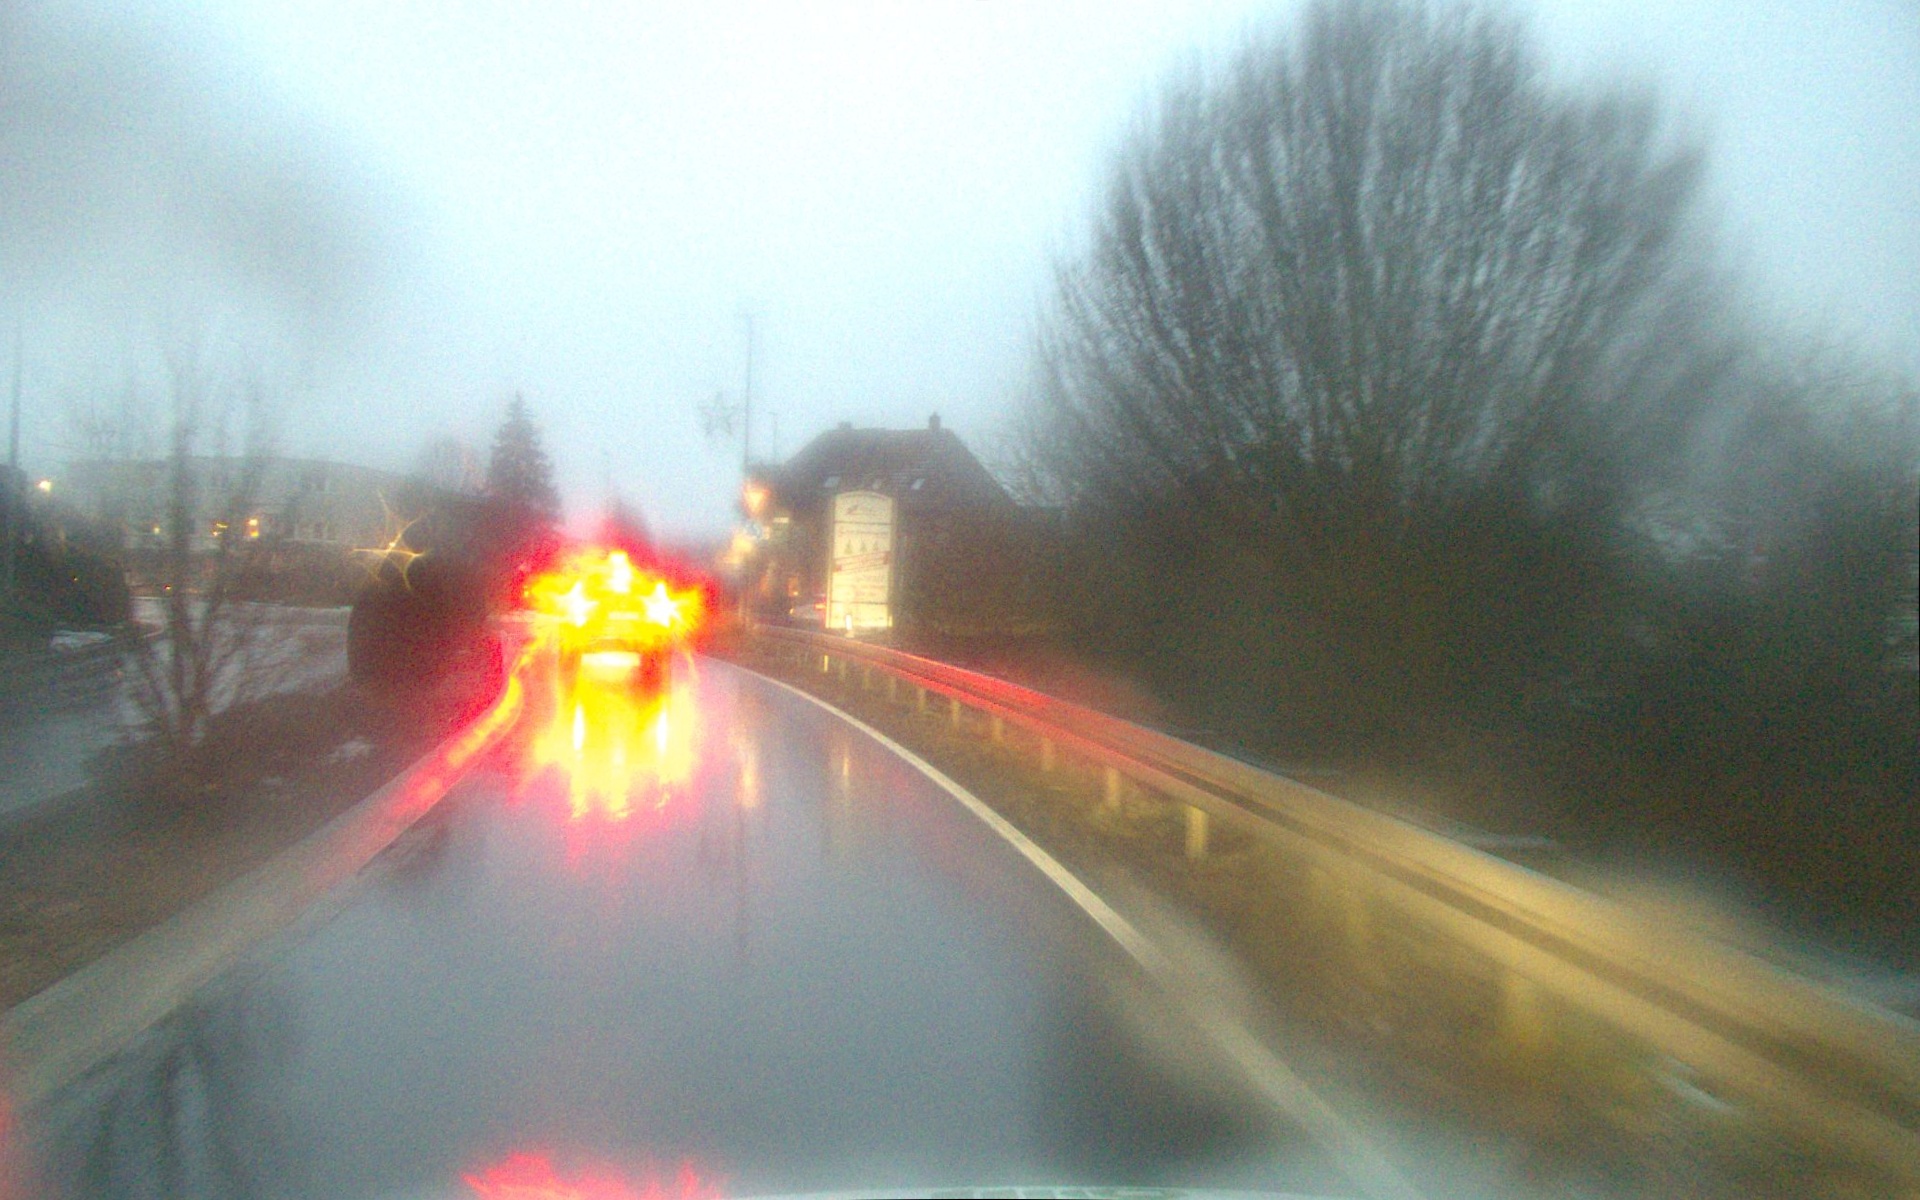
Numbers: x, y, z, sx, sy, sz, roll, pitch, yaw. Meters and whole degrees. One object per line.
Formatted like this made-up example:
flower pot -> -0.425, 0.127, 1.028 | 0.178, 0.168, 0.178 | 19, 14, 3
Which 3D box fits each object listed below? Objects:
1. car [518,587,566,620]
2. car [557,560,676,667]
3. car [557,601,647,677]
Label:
car -> -20.640, 0.160, 81.578 | 1.748, 1.571, 3.974 | 1, -1, -22
car -> -6.284, 0.227, 30.022 | 1.911, 1.748, 3.986 | 2, 0, -13
car -> -9.380, 0.965, 43.301 | 2.126, 1.719, 4.557 | 2, 1, -13
